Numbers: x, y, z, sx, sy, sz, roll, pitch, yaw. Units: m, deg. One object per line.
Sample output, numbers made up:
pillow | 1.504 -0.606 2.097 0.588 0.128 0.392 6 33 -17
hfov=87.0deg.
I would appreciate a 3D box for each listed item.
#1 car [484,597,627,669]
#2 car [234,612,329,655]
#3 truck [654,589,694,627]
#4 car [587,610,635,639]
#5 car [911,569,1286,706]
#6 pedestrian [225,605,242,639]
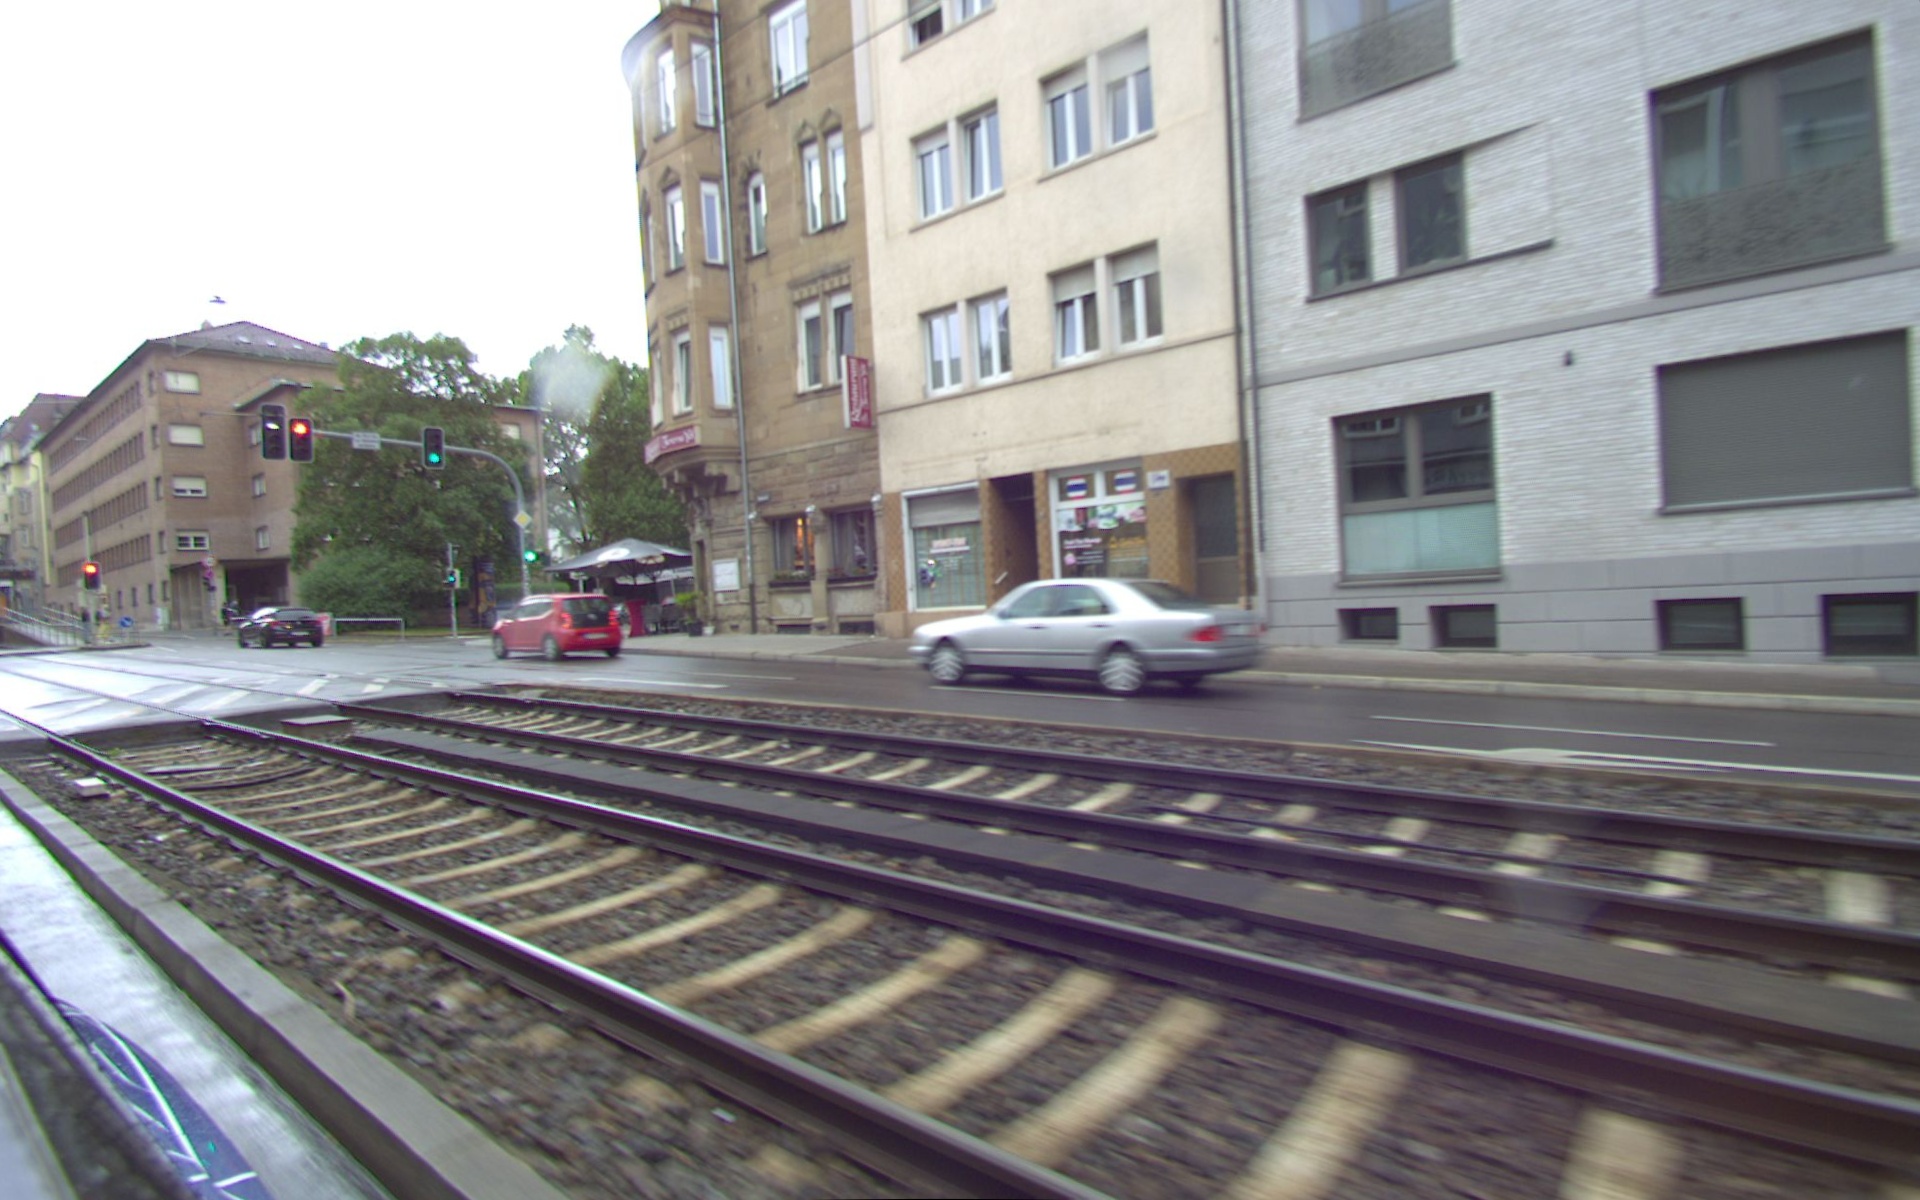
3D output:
car | -9.142 0.718 22.804 3.386 1.461 1.610 -1 0 41
car | -23.651 1.156 35.237 3.943 1.346 1.759 -1 0 41
truck | -23.611 0.623 83.734 2.662 2.939 6.816 -2 0 -12
car | -22.363 1.537 64.984 1.812 1.657 4.001 -2 0 -1
car | 1.620 0.432 13.093 4.641 1.472 1.695 -1 0 42
pedestrian | -38.616 1.178 53.789 0.464 1.760 0.616 -2 -2 37
